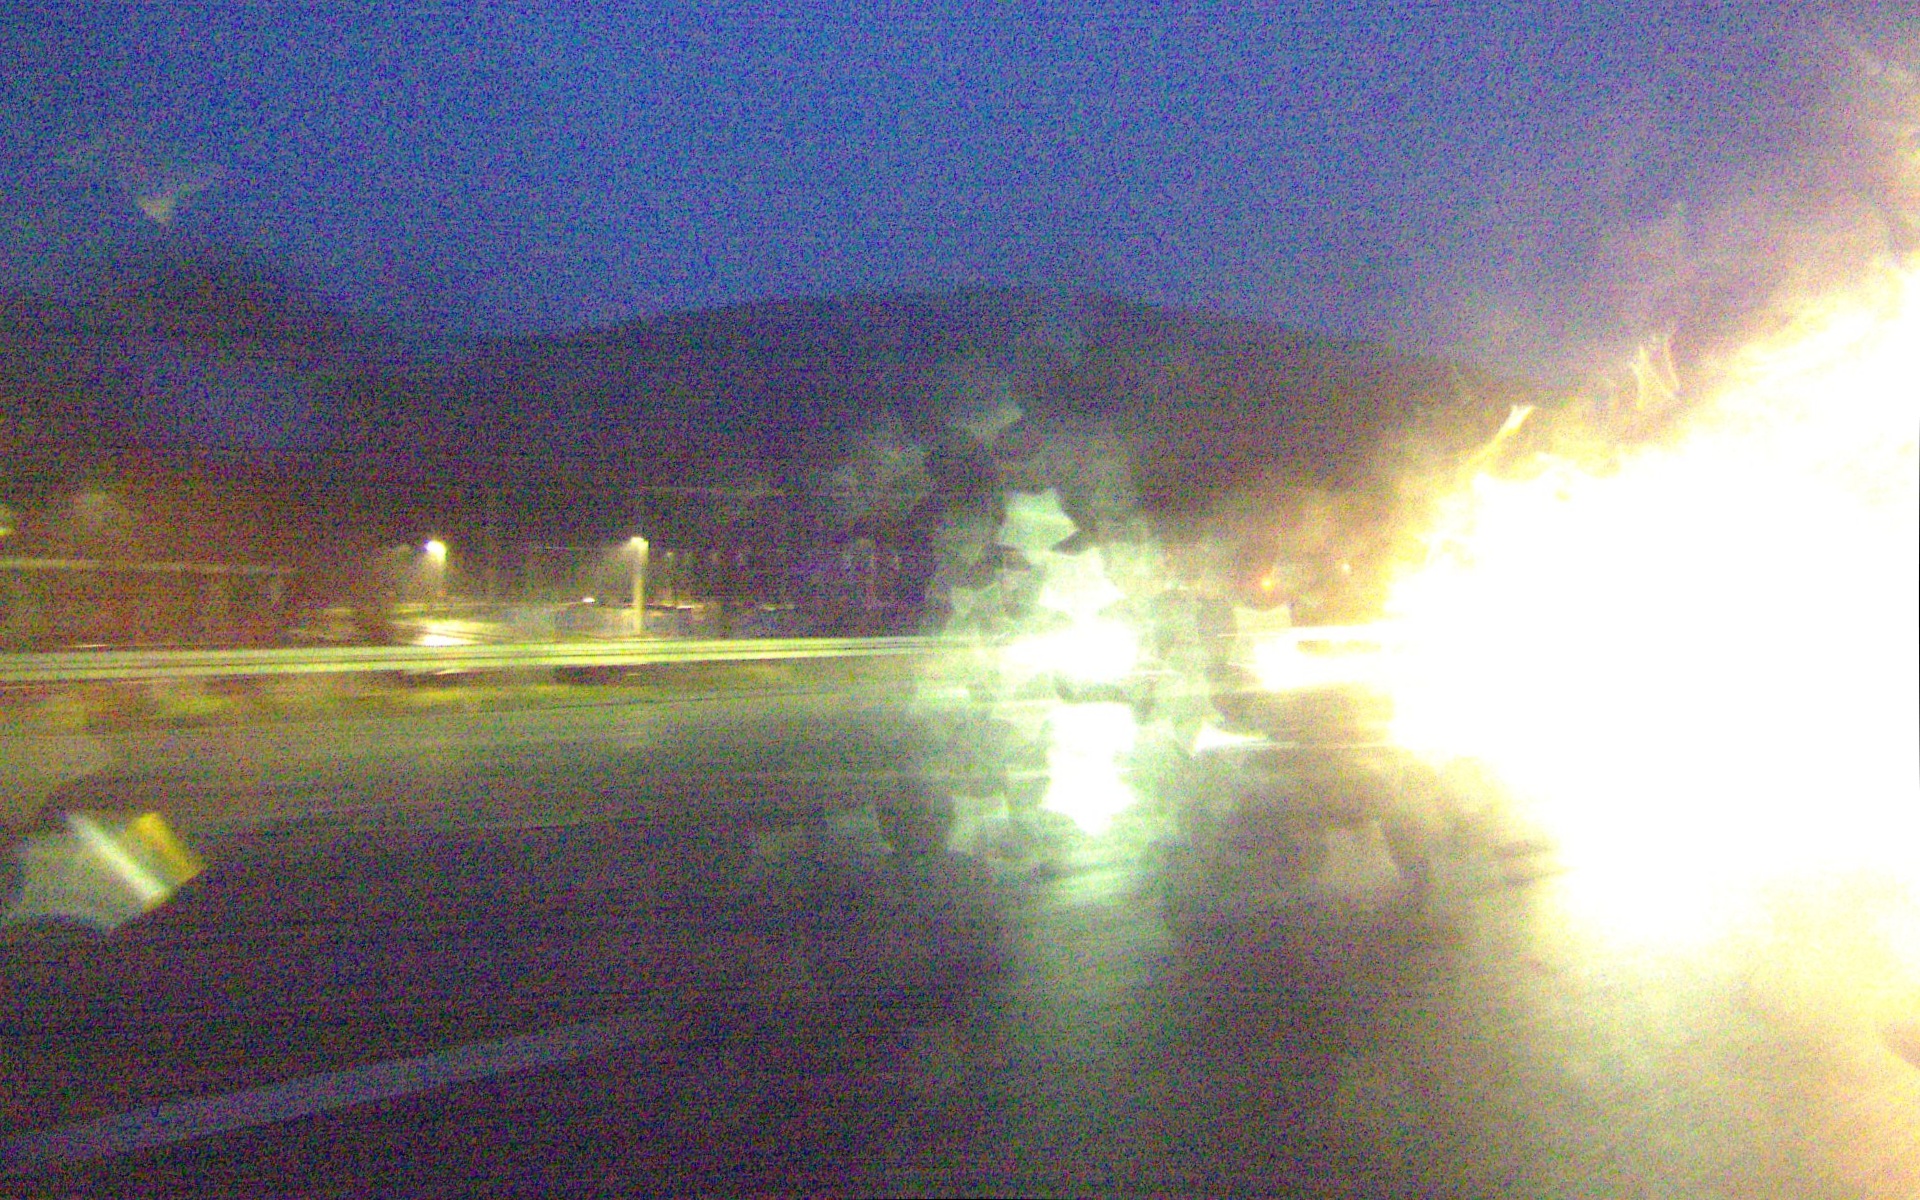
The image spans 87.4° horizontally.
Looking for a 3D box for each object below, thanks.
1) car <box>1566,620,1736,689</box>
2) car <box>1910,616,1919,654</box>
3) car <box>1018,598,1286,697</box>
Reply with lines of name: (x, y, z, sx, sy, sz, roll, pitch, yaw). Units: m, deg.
car: (17.467, 1.305, 25.339, 4.507, 1.528, 1.982, 1, 1, -33)
car: (44.347, 1.595, 43.751, 1.980, 1.684, 3.961, 1, 0, -34)
car: (3.179, 0.726, 16.324, 4.206, 1.416, 1.864, 1, -1, -34)
